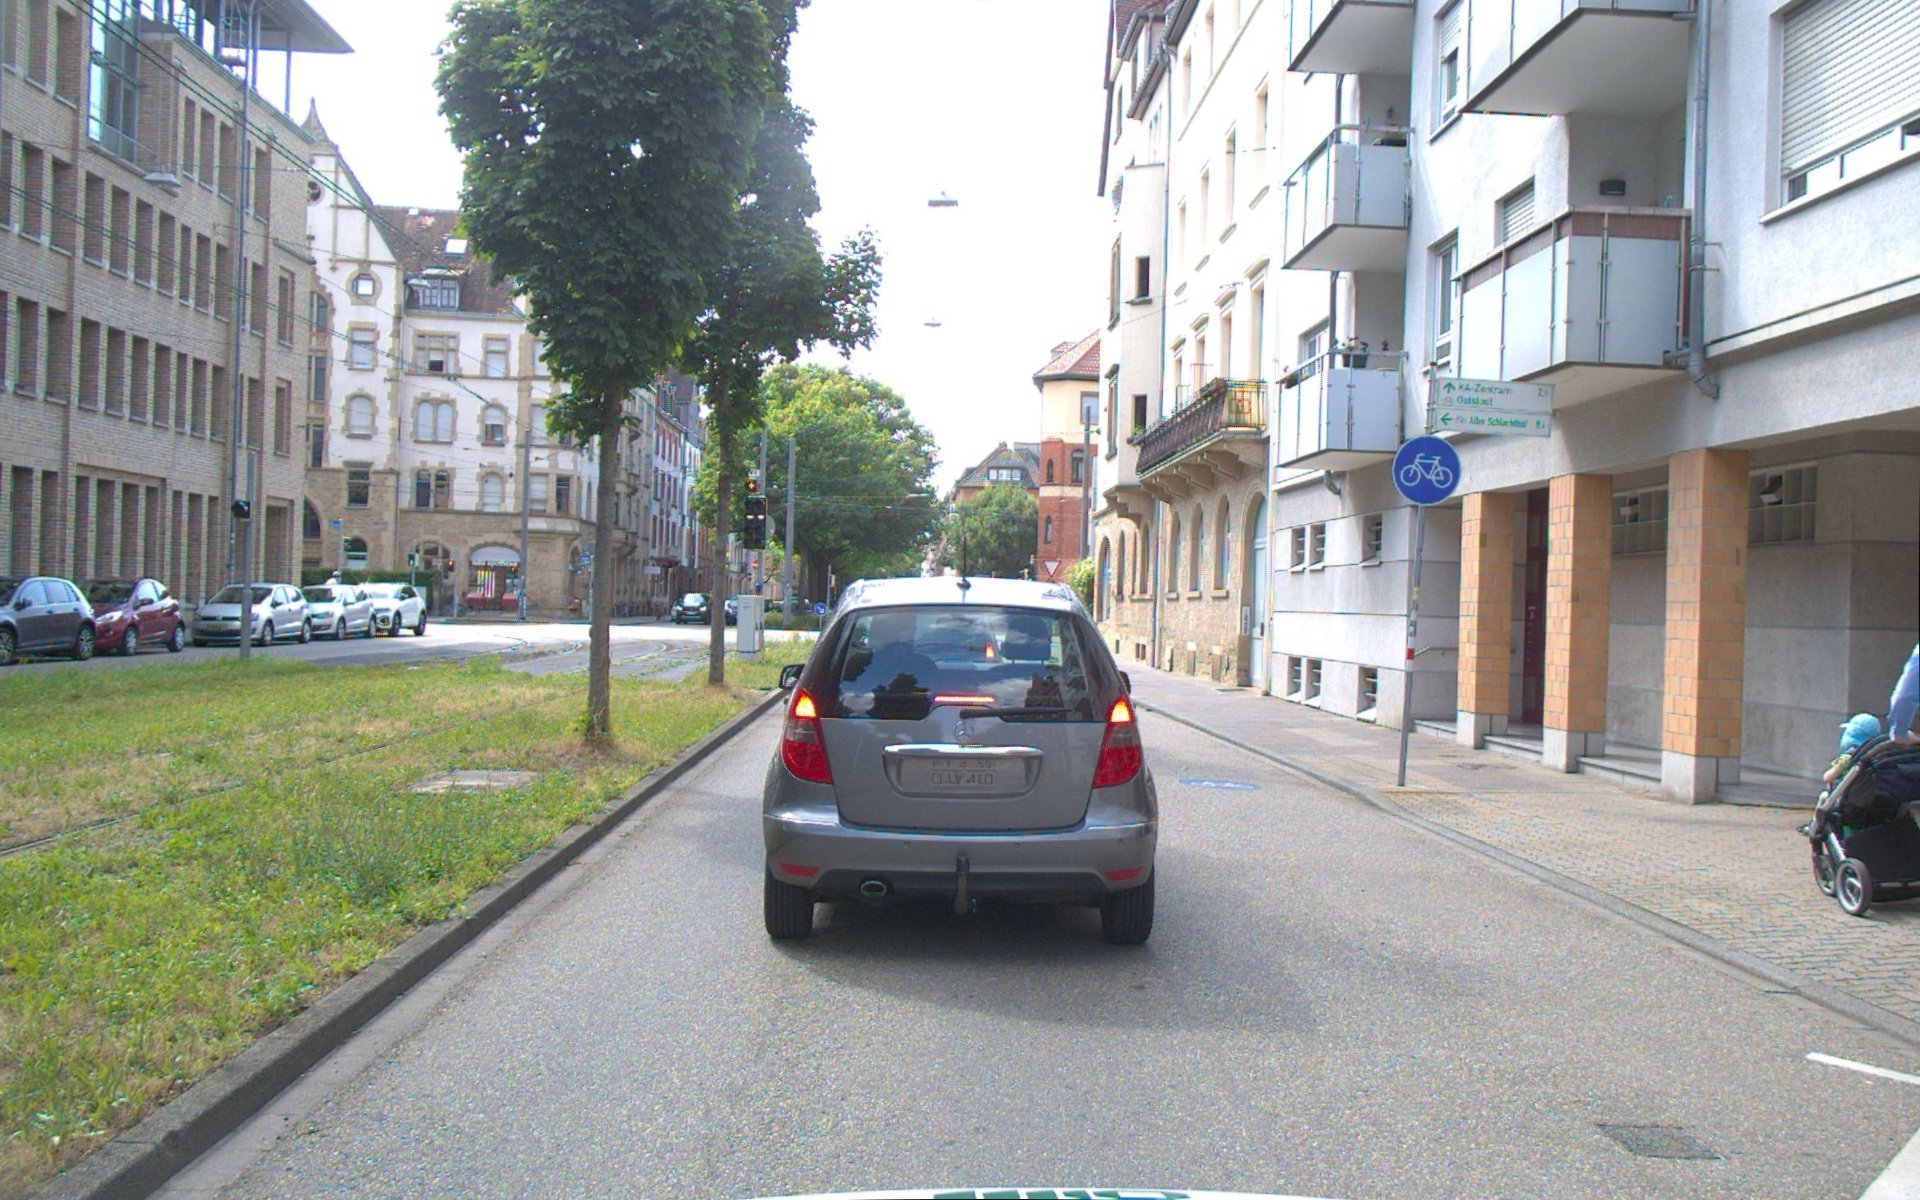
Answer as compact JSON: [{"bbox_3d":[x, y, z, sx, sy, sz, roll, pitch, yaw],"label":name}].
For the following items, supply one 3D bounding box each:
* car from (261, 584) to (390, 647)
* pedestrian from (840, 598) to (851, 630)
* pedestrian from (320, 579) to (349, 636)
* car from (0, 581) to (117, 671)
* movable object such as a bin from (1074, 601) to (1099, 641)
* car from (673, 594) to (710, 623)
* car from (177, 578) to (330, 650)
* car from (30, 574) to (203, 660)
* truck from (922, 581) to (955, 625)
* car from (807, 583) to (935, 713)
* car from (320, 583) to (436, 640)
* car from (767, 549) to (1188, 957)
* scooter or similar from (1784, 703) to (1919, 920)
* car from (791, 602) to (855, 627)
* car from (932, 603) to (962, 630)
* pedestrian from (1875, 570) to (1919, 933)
[{"bbox_3d":[-16.857,0.392,44.162,1.894,1.557,4.013,2,0,-1],"label":"car"},{"bbox_3d":[-6.455,0.774,93.007,0.484,1.755,0.651,2,-1,-14],"label":"pedestrian"},{"bbox_3d":[-20.389,0.244,53.909,0.751,1.827,0.952,2,-1,-27],"label":"pedestrian"},{"bbox_3d":[-16.215,0.393,27.806,1.894,1.420,4.238,2,0,-1],"label":"car"},{"bbox_3d":[4.716,0.776,61.609,0.701,1.497,0.980,1,-1,-10],"label":"movable object such as a bin"},{"bbox_3d":[-15.781,0.491,97.526,1.955,1.646,3.994,1,0,-7],"label":"car"},{"bbox_3d":[-16.619,0.318,39.126,1.813,1.557,4.209,2,0,-1],"label":"car"},{"bbox_3d":[-16.469,0.323,32.479,1.550,1.557,3.549,2,0,-1],"label":"car"},{"bbox_3d":[-1.523,0.221,118.993,2.079,3.022,4.001,1,0,2],"label":"truck"},{"bbox_3d":[-1.226,0.658,24.154,1.687,1.736,3.676,1,0,-1],"label":"car"},{"bbox_3d":[-17.072,0.333,48.711,1.894,1.562,4.257,2,0,-1],"label":"car"},{"bbox_3d":[0.048,0.632,8.563,1.687,1.634,3.676,1,0,-1],"label":"car"},{"bbox_3d":[4.939,1.098,8.826,0.580,1.019,0.905,-2,0,-1],"label":"scooter or similar"},{"bbox_3d":[-8.352,0.892,100.529,1.957,1.362,3.941,2,0,-41],"label":"car"},{"bbox_3d":[-0.833,1.054,106.041,1.716,1.661,3.500,2,0,2],"label":"car"},{"bbox_3d":[4.960,0.727,7.917,0.608,1.769,0.877,-2,0,-1],"label":"pedestrian"}]
